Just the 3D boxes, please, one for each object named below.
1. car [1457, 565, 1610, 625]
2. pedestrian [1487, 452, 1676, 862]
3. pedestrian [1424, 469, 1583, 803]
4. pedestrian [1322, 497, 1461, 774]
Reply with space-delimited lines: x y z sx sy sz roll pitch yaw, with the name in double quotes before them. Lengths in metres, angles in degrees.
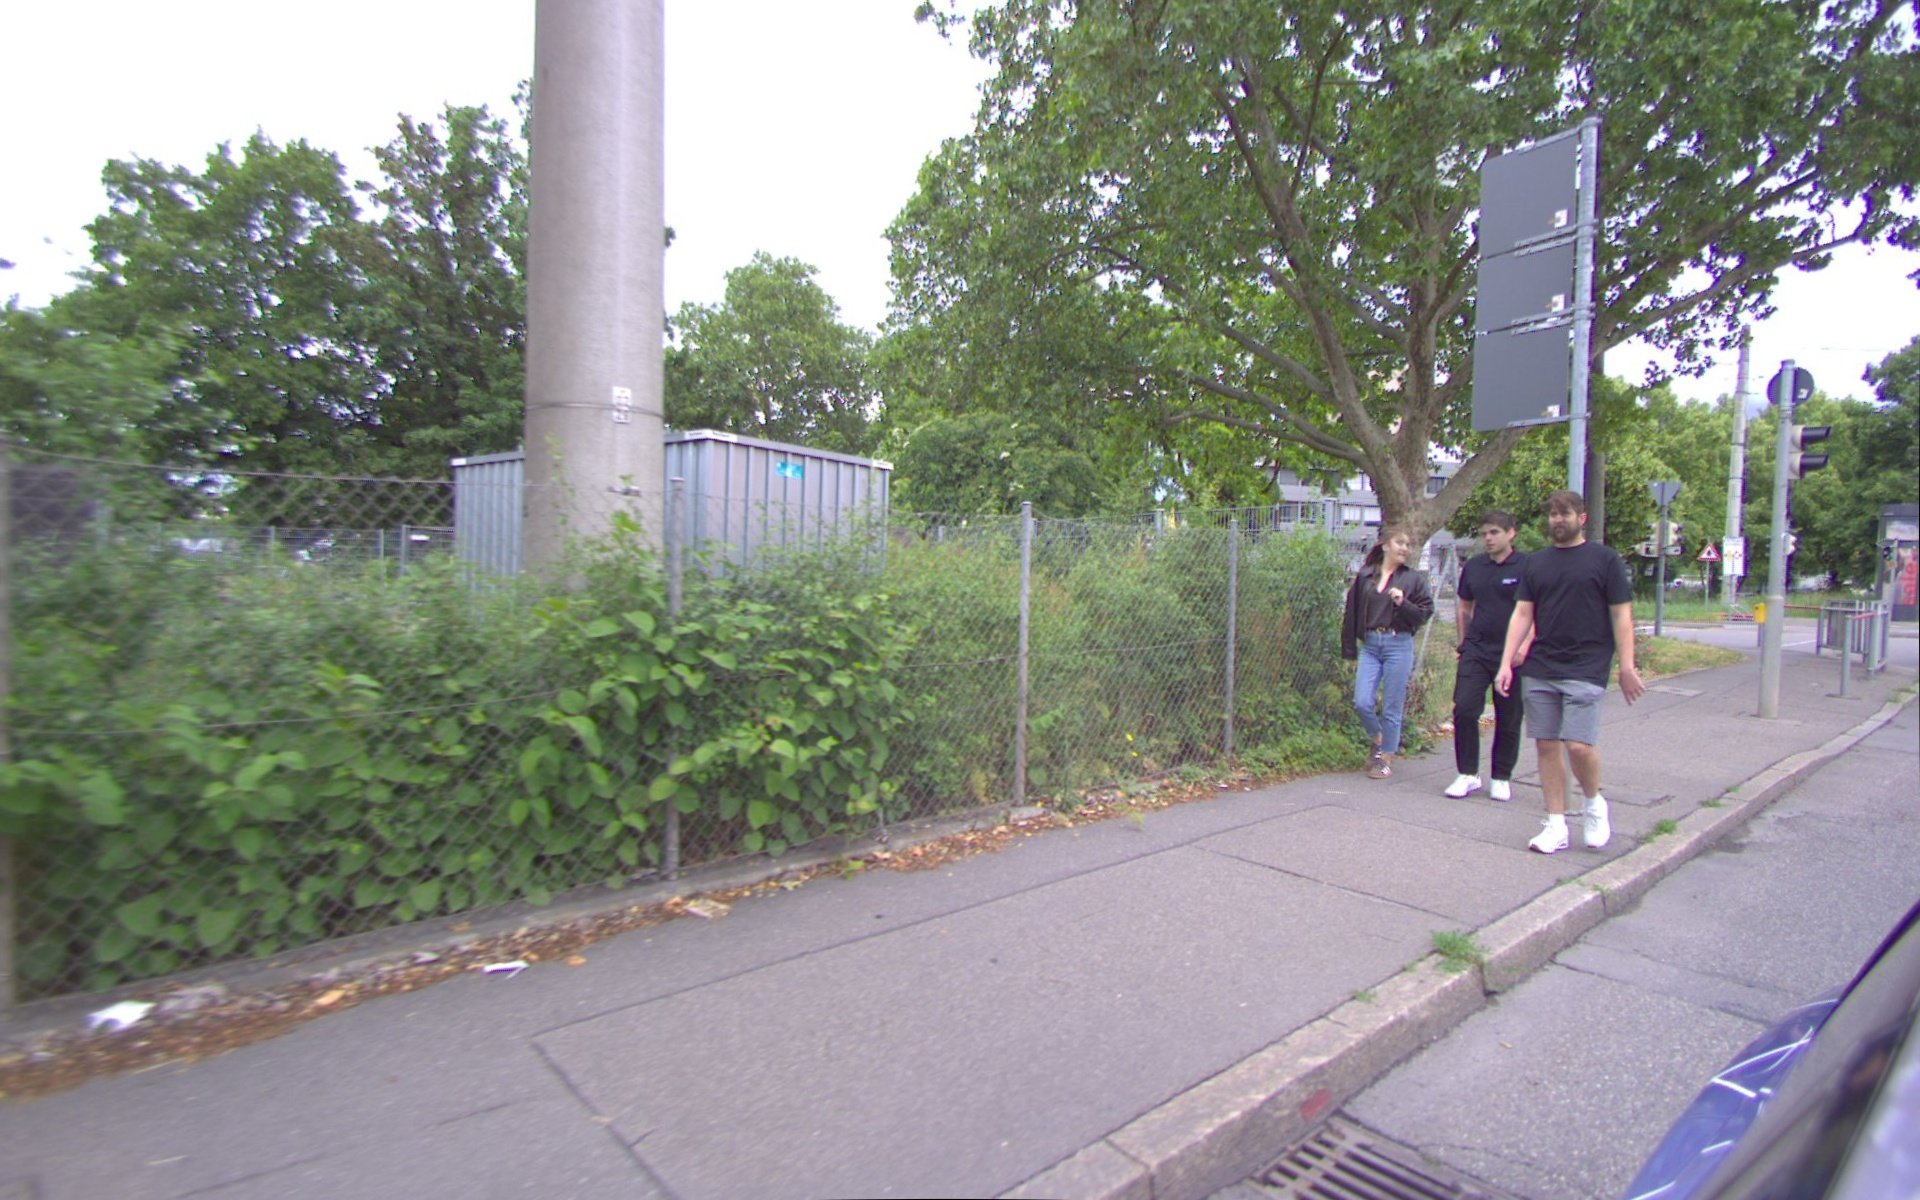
"car" 18.940 -0.207 33.674 1.794 1.794 4.240 2 1 -19
"pedestrian" 3.109 0.234 5.078 0.660 1.889 0.604 -5 6 -40
"pedestrian" 3.302 0.184 6.157 0.660 1.890 0.604 -2 3 -40
"pedestrian" 2.839 0.190 6.667 0.660 1.709 0.604 -5 6 -40
